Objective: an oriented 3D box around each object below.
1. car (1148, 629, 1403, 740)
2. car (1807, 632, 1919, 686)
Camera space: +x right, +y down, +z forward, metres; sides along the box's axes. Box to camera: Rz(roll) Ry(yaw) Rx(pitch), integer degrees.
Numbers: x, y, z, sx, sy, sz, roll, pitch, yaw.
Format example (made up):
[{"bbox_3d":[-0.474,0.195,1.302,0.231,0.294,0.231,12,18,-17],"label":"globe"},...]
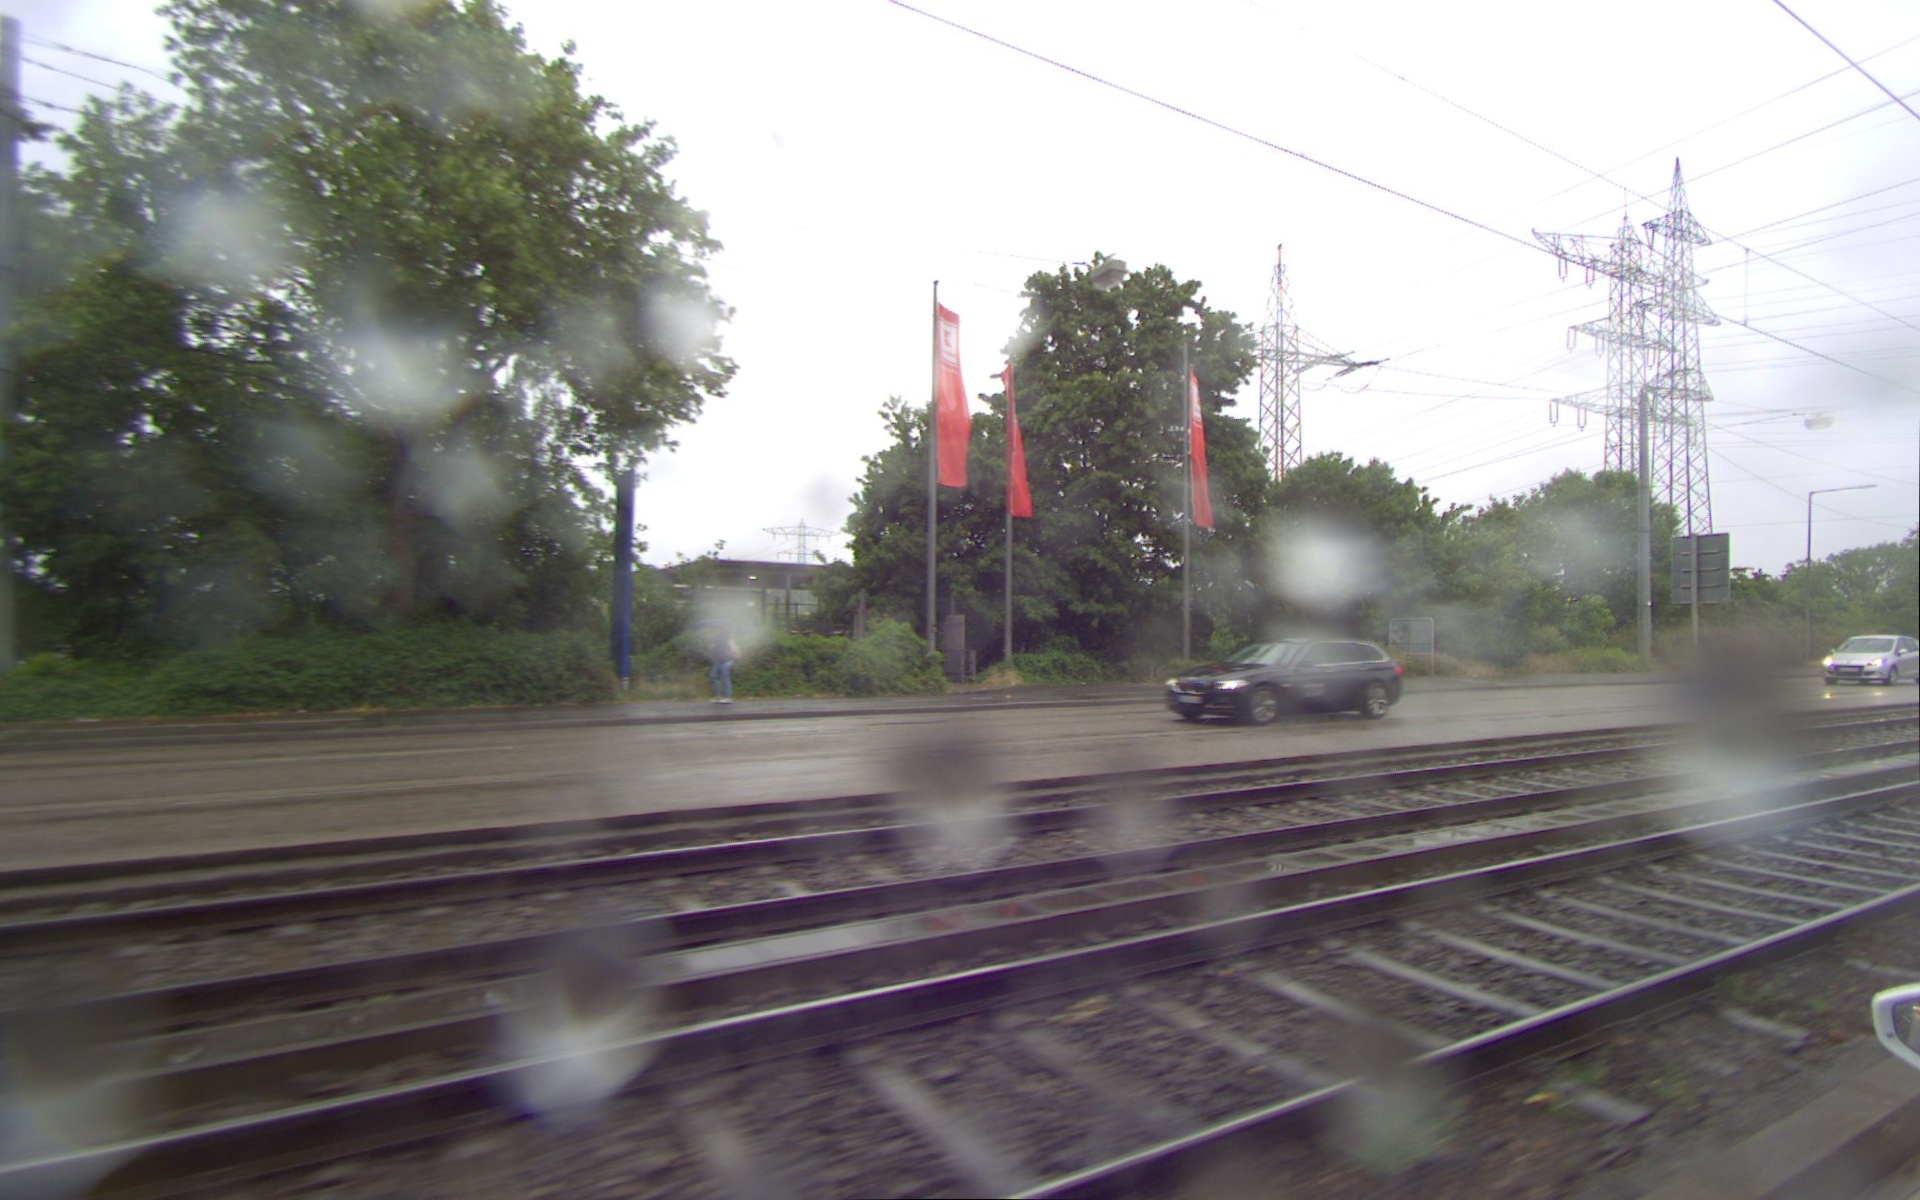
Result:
[{"bbox_3d":[5.607,1.394,17.765,4.344,1.664,1.879,0,0,-30],"label":"car"},{"bbox_3d":[30.849,1.955,34.097,4.295,1.664,1.879,0,0,-30],"label":"car"}]
